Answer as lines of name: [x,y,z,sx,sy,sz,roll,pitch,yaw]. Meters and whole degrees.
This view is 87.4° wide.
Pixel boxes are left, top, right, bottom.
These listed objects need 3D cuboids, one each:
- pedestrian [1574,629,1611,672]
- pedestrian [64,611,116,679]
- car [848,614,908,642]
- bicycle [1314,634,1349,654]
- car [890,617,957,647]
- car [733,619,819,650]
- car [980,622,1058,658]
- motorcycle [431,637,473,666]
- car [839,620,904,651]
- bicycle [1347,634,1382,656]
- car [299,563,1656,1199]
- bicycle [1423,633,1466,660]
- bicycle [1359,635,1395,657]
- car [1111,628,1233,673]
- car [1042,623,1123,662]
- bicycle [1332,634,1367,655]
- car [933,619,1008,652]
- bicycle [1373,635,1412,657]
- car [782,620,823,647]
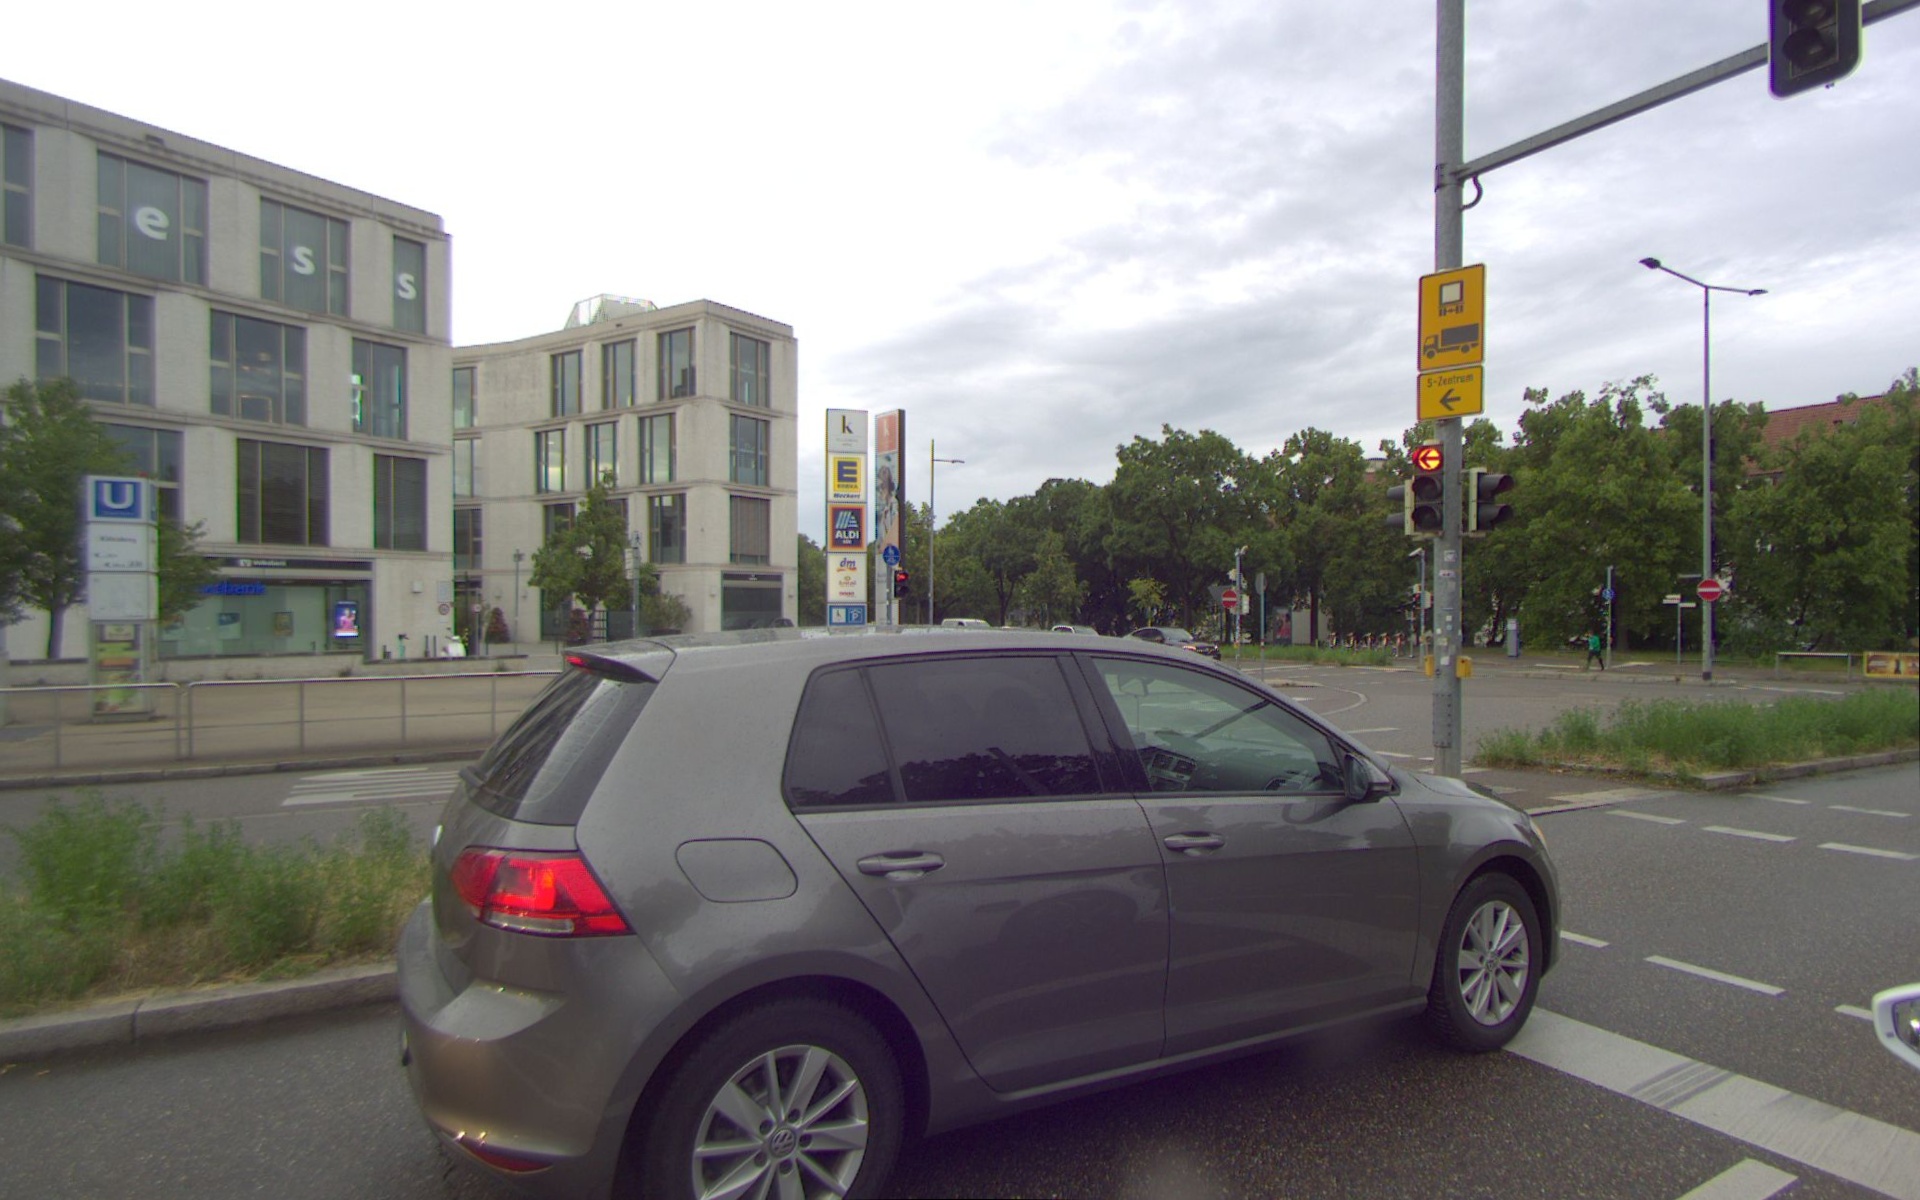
pedestrian: [26.436,2.120,42.015,0.933,1.750,0.920,2,0,-23]
pedestrian: [-21.320,1.091,24.614,0.908,1.626,0.755,2,-1,-43]
car: [-5.455,1.816,66.119,1.977,1.615,4.852,2,0,-31]
bicycle: [20.272,2.402,54.773,1.959,1.085,0.649,2,0,-30]
car: [-2.253,1.886,60.400,1.976,1.615,4.855,2,0,-29]
car: [-9.182,1.717,50.324,1.968,1.483,3.985,0,-2,37]
car: [2.955,1.995,50.903,1.976,1.615,4.185,2,0,-29]
motorcycle: [-14.115,1.419,27.894,1.081,0.750,0.522,2,0,29]
car: [-5.325,2.112,59.705,1.976,1.615,4.855,2,0,-29]
bicycle: [21.376,2.378,53.043,1.959,1.085,0.649,2,0,-30]
car: [0.349,0.752,3.520,4.325,1.501,1.807,2,-1,-30]
bicycle: [23.763,2.294,49.270,1.959,1.266,0.986,2,0,-30]
bicycle: [21.677,2.395,52.183,1.959,1.085,0.649,2,0,-30]
car: [8.400,1.965,40.248,1.976,1.520,5.001,2,0,-29]
car: [5.561,1.909,46.034,1.976,1.615,3.536,2,0,-30]
bicycle: [20.942,2.388,54.043,1.959,1.085,0.649,2,0,-30]
car: [0.536,1.945,55.412,1.976,1.615,4.855,2,0,-29]
bicycle: [22.247,2.361,51.658,1.959,1.085,0.798,2,0,-30]
car: [-12.690,2.665,80.589,1.976,2.040,3.969,1,-1,-29]
